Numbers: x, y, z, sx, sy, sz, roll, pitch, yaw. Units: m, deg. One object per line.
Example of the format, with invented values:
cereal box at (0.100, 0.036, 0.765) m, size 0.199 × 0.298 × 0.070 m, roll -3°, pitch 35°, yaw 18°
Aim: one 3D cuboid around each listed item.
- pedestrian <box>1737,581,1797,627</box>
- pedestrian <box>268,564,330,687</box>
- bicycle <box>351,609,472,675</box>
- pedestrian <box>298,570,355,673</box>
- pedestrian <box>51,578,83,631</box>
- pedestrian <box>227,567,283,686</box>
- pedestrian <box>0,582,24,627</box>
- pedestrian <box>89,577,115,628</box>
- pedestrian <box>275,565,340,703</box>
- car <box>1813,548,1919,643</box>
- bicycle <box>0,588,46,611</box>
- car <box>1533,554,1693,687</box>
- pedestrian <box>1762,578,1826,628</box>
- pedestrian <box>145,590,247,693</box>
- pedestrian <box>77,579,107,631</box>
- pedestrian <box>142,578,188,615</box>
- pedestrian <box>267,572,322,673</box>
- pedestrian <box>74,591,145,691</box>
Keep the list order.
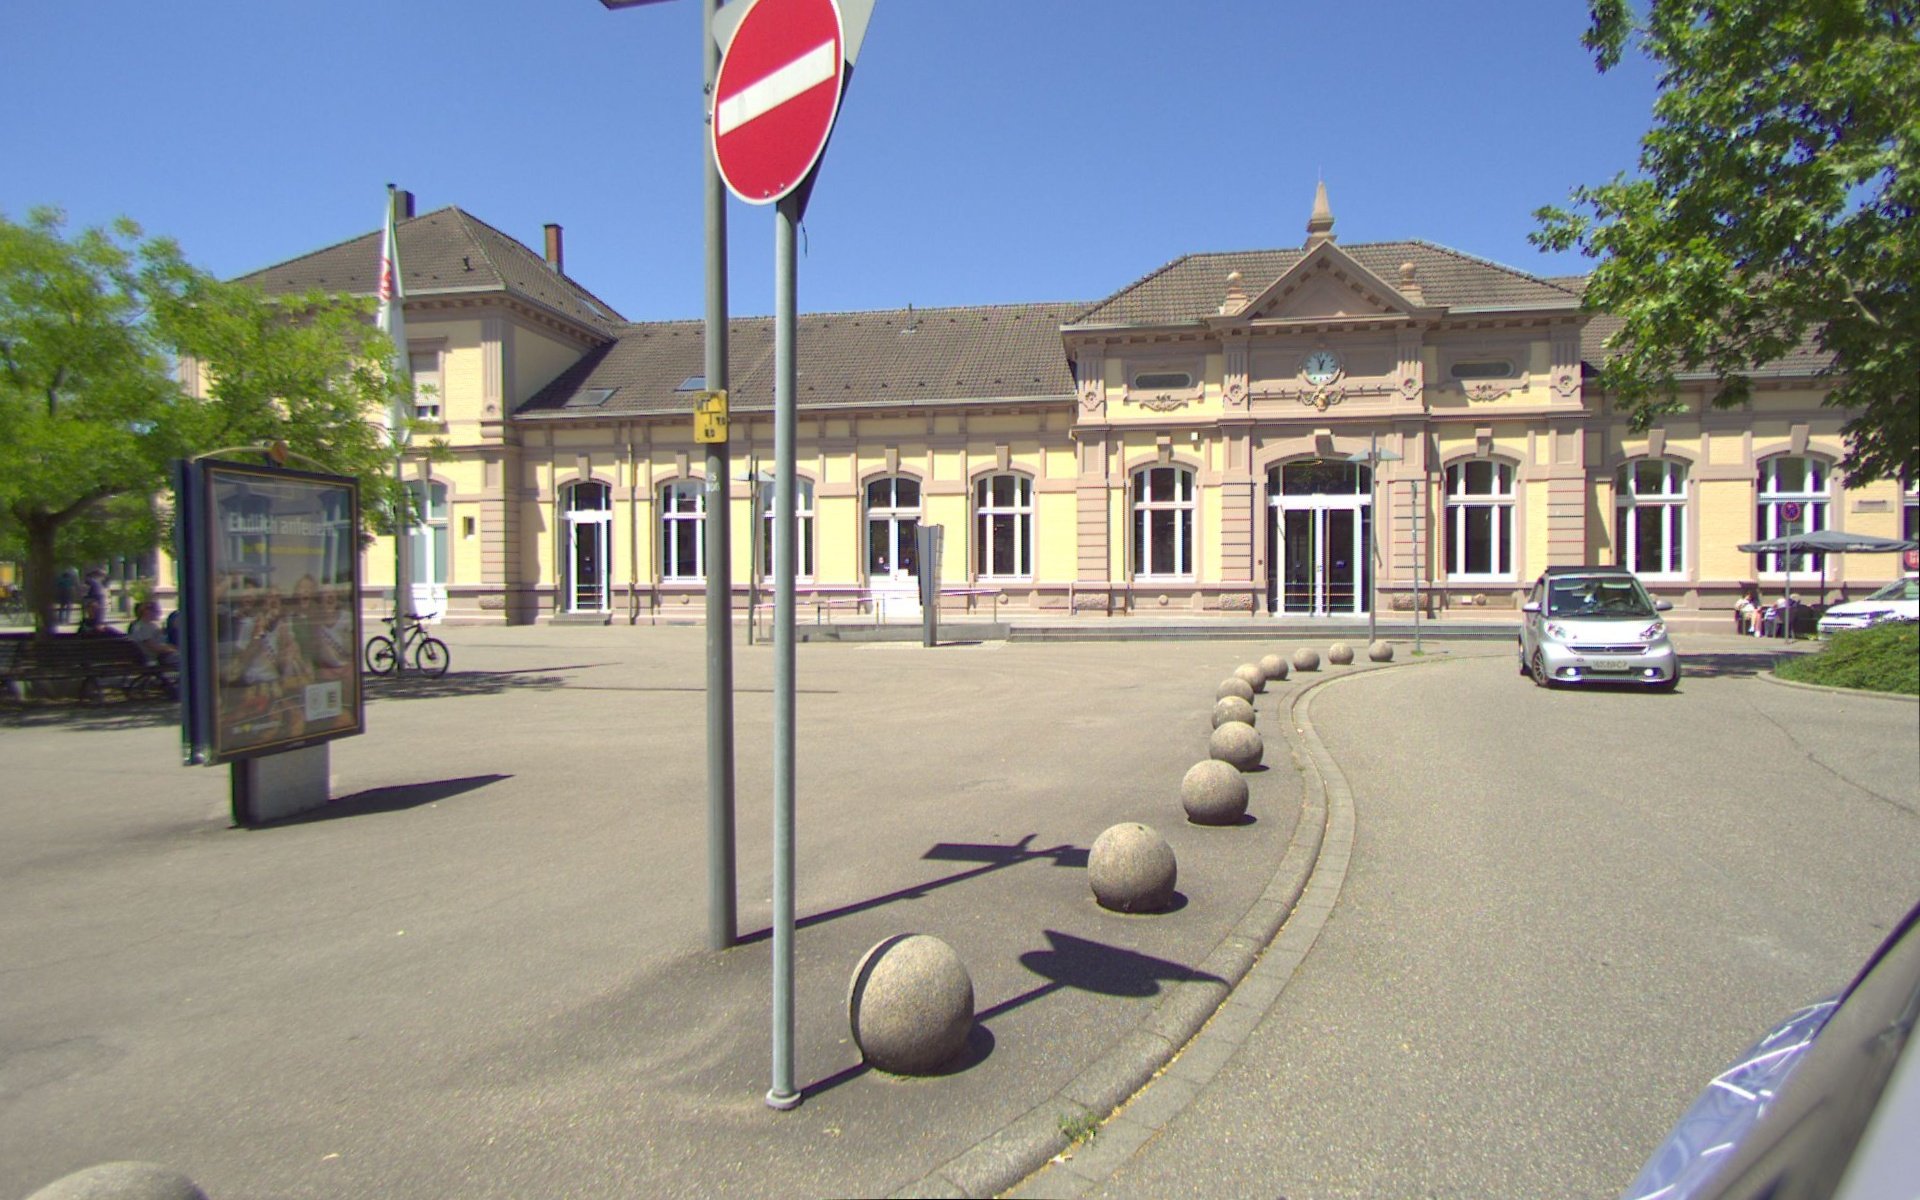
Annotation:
pedestrian at (20.473, 0.095, 25.689) m, size 0.837 × 1.093 × 0.881 m, roll 0°, pitch 2°, yaw 6°
pedestrian at (-9.699, 0.364, 14.866) m, size 0.587 × 1.761 × 0.586 m, roll -1°, pitch 1°, yaw -16°
bicycle at (-9.265, 0.703, 17.097) m, size 1.916 × 1.073 × 0.421 m, roll -1°, pitch 1°, yaw 8°
pedestrian at (-10.764, 0.356, 17.213) m, size 0.579 × 1.706 × 0.619 m, roll -1°, pitch 1°, yaw -2°
pedestrian at (-30.960, 0.148, 35.091) m, size 0.626 × 1.832 × 0.683 m, roll 0°, pitch 1°, yaw 31°
pedestrian at (-10.755, 0.389, 15.442) m, size 0.559 × 1.761 × 0.513 m, roll -1°, pitch 1°, yaw -19°
pedestrian at (-34.891, 0.150, 36.796) m, size 0.841 × 1.610 × 0.924 m, roll -1°, pitch 1°, yaw 5°
pedestrian at (-30.870, 0.084, 36.412) m, size 0.494 × 1.832 × 0.545 m, roll 0°, pitch 1°, yaw 30°
pedestrian at (-8.569, 0.432, 13.314) m, size 0.536 × 1.761 × 0.629 m, roll -1°, pitch 1°, yaw -16°
car at (20.879, -0.087, 20.675) m, size 5.052 × 1.889 × 1.811 m, roll 0°, pitch 0°, yaw 8°
bicycle at (-44.850, -0.005, 47.624) m, size 0.950 × 1.017 × 2.789 m, roll -1°, pitch -1°, yaw 8°
car at (8.852, 0.212, 13.930) m, size 1.587 × 1.613 × 3.076 m, roll 0°, pitch 1°, yaw 28°
pedestrian at (20.374, 0.062, 24.753) m, size 0.837 × 1.176 × 0.881 m, roll 0°, pitch 2°, yaw 6°
pedestrian at (-10.957, 0.568, 14.556) m, size 0.924 × 1.403 × 0.915 m, roll -1°, pitch 1°, yaw -20°
pedestrian at (-30.644, 0.168, 35.717) m, size 0.591 × 1.832 × 0.625 m, roll 0°, pitch 1°, yaw 31°
pedestrian at (-31.484, -0.132, 40.100) m, size 0.957 × 1.369 × 1.054 m, roll -3°, pitch 3°, yaw -11°
pedestrian at (-11.456, 0.372, 17.432) m, size 0.576 × 1.706 × 0.555 m, roll -1°, pitch 1°, yaw -2°
pedestrian at (-12.156, 0.570, 14.480) m, size 0.587 × 1.381 × 0.600 m, roll -1°, pitch 1°, yaw -18°
